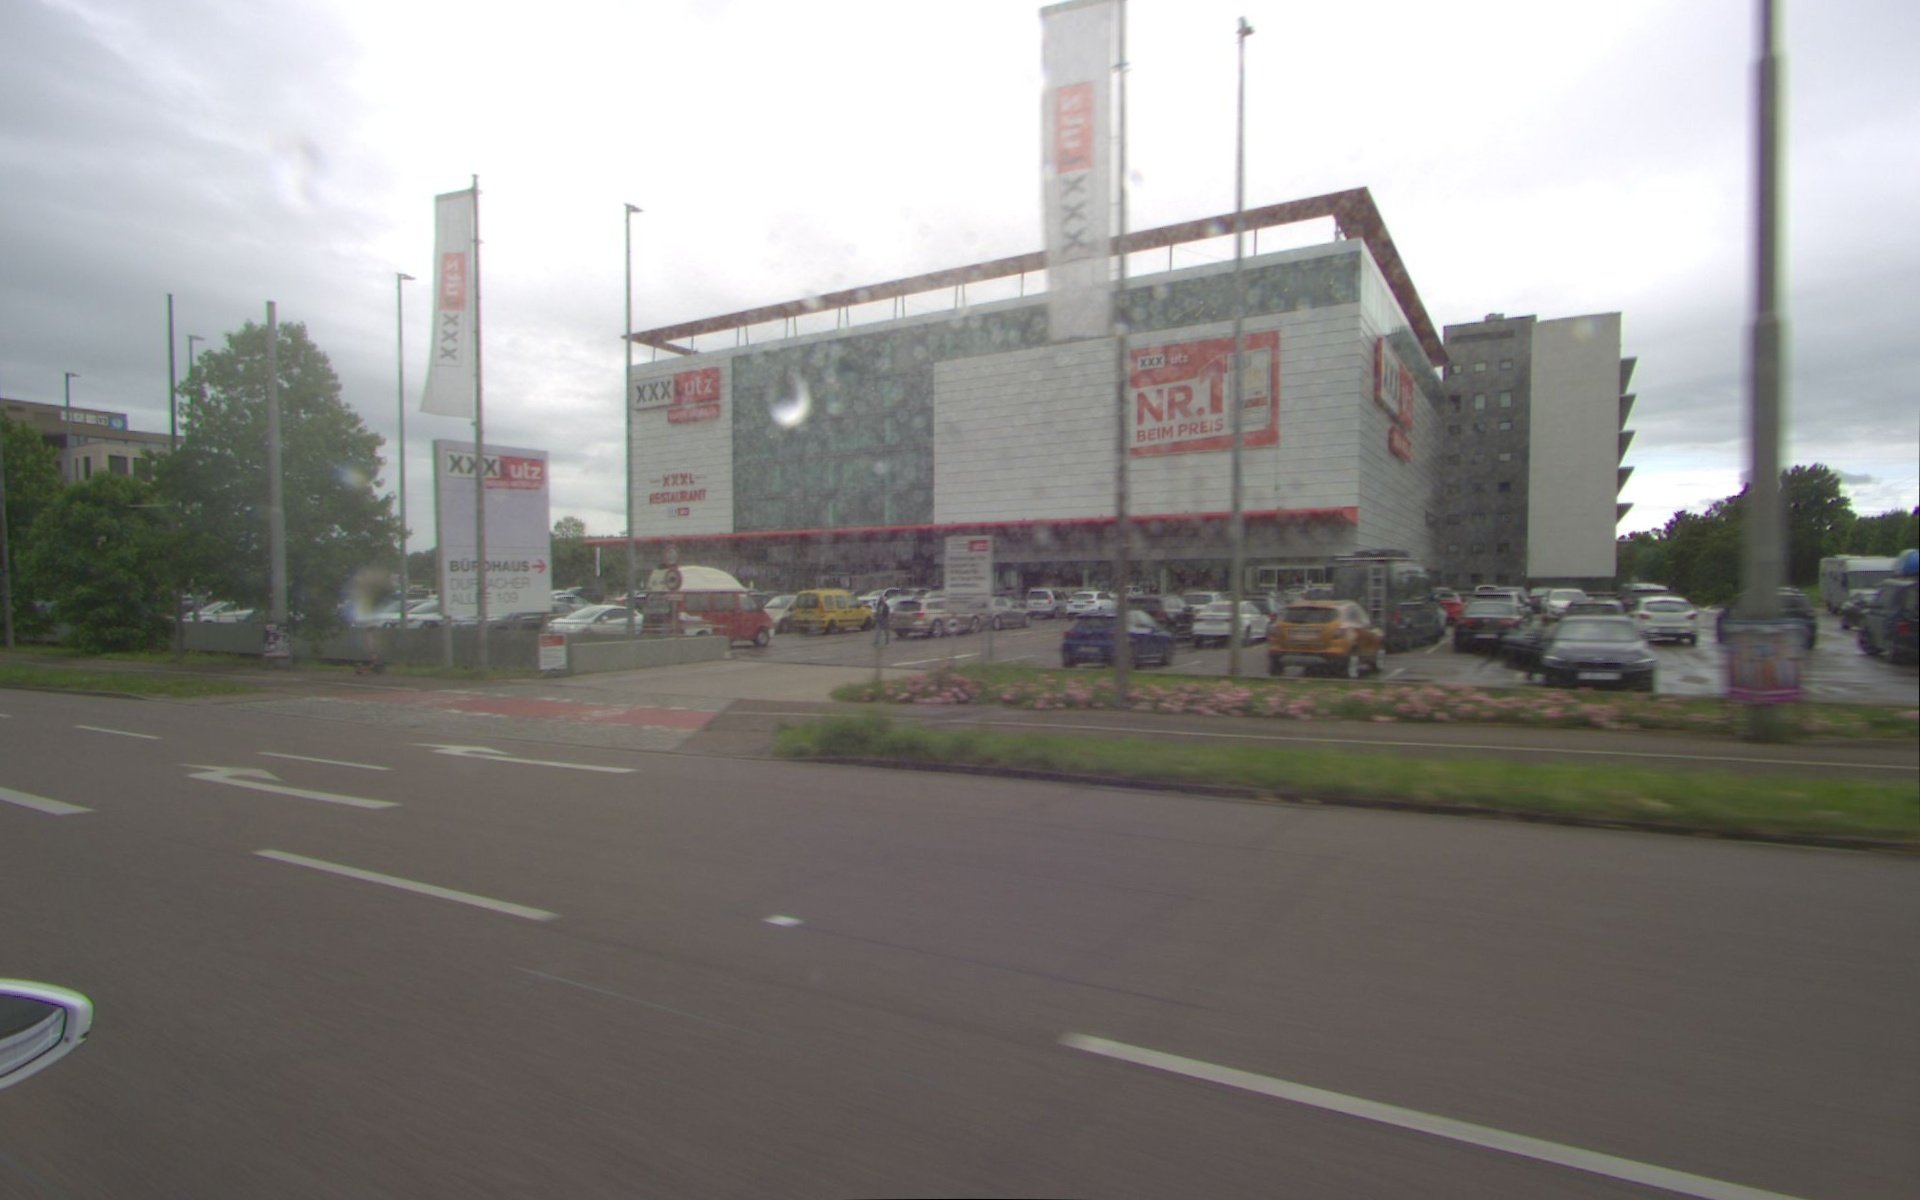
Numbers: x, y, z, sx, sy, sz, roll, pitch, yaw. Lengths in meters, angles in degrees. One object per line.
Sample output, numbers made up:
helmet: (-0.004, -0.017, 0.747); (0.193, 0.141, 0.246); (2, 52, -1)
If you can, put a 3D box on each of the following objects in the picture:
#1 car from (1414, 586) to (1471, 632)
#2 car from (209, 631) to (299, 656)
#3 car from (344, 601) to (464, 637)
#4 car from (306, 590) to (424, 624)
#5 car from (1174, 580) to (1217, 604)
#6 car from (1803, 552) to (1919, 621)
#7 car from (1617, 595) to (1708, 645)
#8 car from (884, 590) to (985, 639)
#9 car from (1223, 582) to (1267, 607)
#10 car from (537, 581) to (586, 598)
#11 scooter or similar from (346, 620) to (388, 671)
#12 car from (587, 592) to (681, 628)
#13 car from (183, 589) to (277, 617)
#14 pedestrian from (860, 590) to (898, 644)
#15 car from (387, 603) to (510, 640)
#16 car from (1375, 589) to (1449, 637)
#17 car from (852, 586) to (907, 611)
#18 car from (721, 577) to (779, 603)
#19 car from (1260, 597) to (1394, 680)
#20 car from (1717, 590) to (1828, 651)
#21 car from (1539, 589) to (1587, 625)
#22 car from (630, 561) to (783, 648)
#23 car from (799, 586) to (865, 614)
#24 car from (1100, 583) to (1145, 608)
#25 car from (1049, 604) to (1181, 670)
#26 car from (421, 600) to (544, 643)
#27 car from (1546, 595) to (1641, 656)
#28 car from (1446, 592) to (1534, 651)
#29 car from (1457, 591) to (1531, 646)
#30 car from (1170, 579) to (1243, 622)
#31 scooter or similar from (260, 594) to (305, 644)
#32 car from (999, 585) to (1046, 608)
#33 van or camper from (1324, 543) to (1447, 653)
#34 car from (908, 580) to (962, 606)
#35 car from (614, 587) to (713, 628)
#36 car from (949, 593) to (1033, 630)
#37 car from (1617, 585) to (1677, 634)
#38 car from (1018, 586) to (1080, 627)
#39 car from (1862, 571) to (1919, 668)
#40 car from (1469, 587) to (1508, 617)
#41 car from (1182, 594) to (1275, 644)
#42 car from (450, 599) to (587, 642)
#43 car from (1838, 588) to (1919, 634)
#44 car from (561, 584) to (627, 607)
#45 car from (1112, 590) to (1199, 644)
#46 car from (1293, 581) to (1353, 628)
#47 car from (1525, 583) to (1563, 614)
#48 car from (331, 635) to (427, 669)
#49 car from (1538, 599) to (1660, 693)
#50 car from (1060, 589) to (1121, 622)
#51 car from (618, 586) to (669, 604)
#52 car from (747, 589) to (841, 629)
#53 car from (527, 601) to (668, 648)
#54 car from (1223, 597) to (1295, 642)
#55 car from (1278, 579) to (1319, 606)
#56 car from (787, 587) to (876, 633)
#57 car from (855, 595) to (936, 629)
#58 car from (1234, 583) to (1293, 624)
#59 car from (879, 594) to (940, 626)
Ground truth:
car: (21.082, 0.383, 43.710); (1.807, 1.886, 3.979); (-1, 0, 32)
car: (-42.055, 2.572, 59.753); (1.739, 1.368, 4.045); (0, -1, 33)
car: (-23.039, 0.767, 41.649); (1.737, 1.368, 4.047); (2, 1, 30)
car: (-26.141, 0.296, 44.107); (1.782, 1.368, 4.145); (2, 1, 30)
car: (15.542, -0.522, 65.981); (1.698, 1.497, 3.520); (2, 1, 32)
car: (43.634, -0.633, 48.455); (2.725, 3.030, 6.923); (2, 1, 27)
car: (22.388, 0.617, 32.059); (1.802, 1.487, 3.890); (-1, 0, 26)
car: (-0.923, 0.526, 39.212); (1.808, 1.606, 4.398); (2, 4, 33)
car: (18.147, -0.336, 63.692); (1.698, 1.497, 3.520); (2, 1, 32)
car: (-30.167, -0.775, 75.921); (1.441, 1.246, 3.247); (2, 1, 32)
scooter or similar: (-14.856, 1.130, 25.076); (1.230, 1.207, 0.369); (1, 2, 32)
car: (-15.821, 0.495, 48.784); (1.808, 1.686, 4.161); (0, 0, 34)
car: (-36.892, 0.158, 50.695); (1.580, 1.325, 3.512); (2, 1, 27)
pedestrian: (-2.703, 0.562, 33.387); (0.872, 1.743, 0.938); (2, 2, 30)
car: (-20.444, 0.822, 40.170); (1.807, 1.368, 4.047); (2, 1, 30)
car: (15.821, 0.448, 34.916); (1.828, 1.576, 3.979); (0, 0, 32)
car: (-5.278, -0.115, 66.314); (1.716, 1.575, 3.764); (2, 1, 32)
car: (-13.854, -0.635, 66.282); (1.717, 1.608, 3.557); (0, 0, 36)
car: (8.228, 0.787, 22.267); (1.791, 1.665, 3.974); (0, 0, 36)
car: (24.259, 0.581, 30.057); (1.970, 1.697, 3.981); (-1, 0, 30)
car: (27.819, 0.298, 46.152); (1.753, 1.552, 3.976); (0, 1, 33)
car: (-8.262, 0.114, 33.034); (2.139, 2.614, 4.712); (2, 1, 33)
car: (-7.808, 0.021, 61.562); (1.856, 1.632, 3.976); (2, 1, 34)
car: (11.135, -0.310, 68.430); (1.803, 1.575, 3.786); (2, 1, 31)
car: (3.910, 0.843, 24.715); (1.789, 1.474, 3.978); (-1, 0, 32)
car: (-18.552, 0.794, 39.064); (1.738, 1.561, 4.045); (2, 1, 33)
car: (17.696, 0.673, 27.915); (1.923, 1.576, 3.972); (-1, 0, 37)
car: (15.367, 0.599, 28.930); (1.971, 1.589, 3.979); (-1, 0, 32)
car: (17.936, 0.564, 33.556); (1.859, 1.692, 3.977); (0, 1, 33)
car: (9.759, 0.008, 39.459); (1.669, 1.602, 3.887); (1, 0, 31)
scooter or similar: (-20.514, 0.571, 30.302); (1.798, 1.440, 0.647); (-1, 1, 41)
car: (4.539, -0.251, 72.277); (1.804, 1.575, 3.785); (1, 0, 32)
van or camper: (12.877, -0.061, 30.101); (1.967, 3.023, 5.356); (0, 0, 40)
car: (-1.615, -0.458, 65.679); (1.803, 1.575, 3.786); (2, 1, 31)
car: (-13.918, 0.348, 47.216); (1.862, 1.767, 4.301); (2, 1, 34)
car: (1.415, 0.479, 43.686); (1.714, 1.489, 4.230); (2, 1, 33)
car: (27.315, 0.342, 39.893); (1.839, 1.805, 4.198); (0, 1, 34)
car: (4.875, 0.346, 54.359); (1.884, 2.083, 3.982); (2, 1, 29)
car: (23.666, 0.404, 24.309); (2.094, 2.194, 5.017); (0, 1, 36)
car: (29.985, 0.070, 56.776); (1.627, 1.581, 3.595); (1, 2, 33)
car: (8.942, 0.605, 33.162); (1.838, 1.572, 3.978); (-1, 0, 33)
car: (-16.548, 0.730, 37.728); (1.840, 1.438, 4.455); (2, 1, 33)
car: (32.856, 0.366, 35.431); (1.805, 1.537, 3.982); (-1, 1, 28)
car: (-22.345, -0.255, 61.206); (1.643, 1.314, 3.560); (2, 1, 32)
car: (6.806, 0.520, 34.593); (1.804, 1.677, 3.884); (1, 2, 30)
car: (16.899, 0.240, 46.494); (1.856, 2.074, 3.979); (0, 0, 32)
car: (32.046, -0.112, 54.947); (1.627, 1.581, 3.595); (1, 2, 33)
car: (-30.328, 2.694, 52.400); (1.738, 1.572, 4.047); (0, -1, 31)
car: (12.280, 0.808, 19.474); (1.743, 1.604, 4.520); (-1, 0, 30)
car: (6.918, 0.276, 52.638); (1.807, 1.676, 3.981); (0, 0, 30)
car: (-25.130, -0.385, 79.581); (1.678, 1.395, 3.584); (2, 1, 34)
car: (-7.215, 0.385, 43.854); (1.852, 1.617, 3.978); (2, 1, 33)
car: (-12.645, 0.797, 35.158); (1.932, 1.481, 4.364); (2, 1, 33)
car: (11.173, 0.695, 37.286); (1.633, 1.576, 3.659); (0, 0, 32)
car: (21.081, -0.489, 62.303); (1.627, 1.581, 3.595); (1, 2, 33)
car: (-5.362, 0.411, 42.202); (1.708, 1.792, 3.728); (2, 1, 33)
car: (-2.953, 0.566, 46.492); (1.762, 1.514, 3.978); (0, 0, 33)
car: (14.472, 0.112, 47.655); (1.826, 1.800, 4.178); (1, 2, 29)
car: (-2.991, 0.578, 60.224); (1.761, 1.844, 3.980); (0, 0, 31)
